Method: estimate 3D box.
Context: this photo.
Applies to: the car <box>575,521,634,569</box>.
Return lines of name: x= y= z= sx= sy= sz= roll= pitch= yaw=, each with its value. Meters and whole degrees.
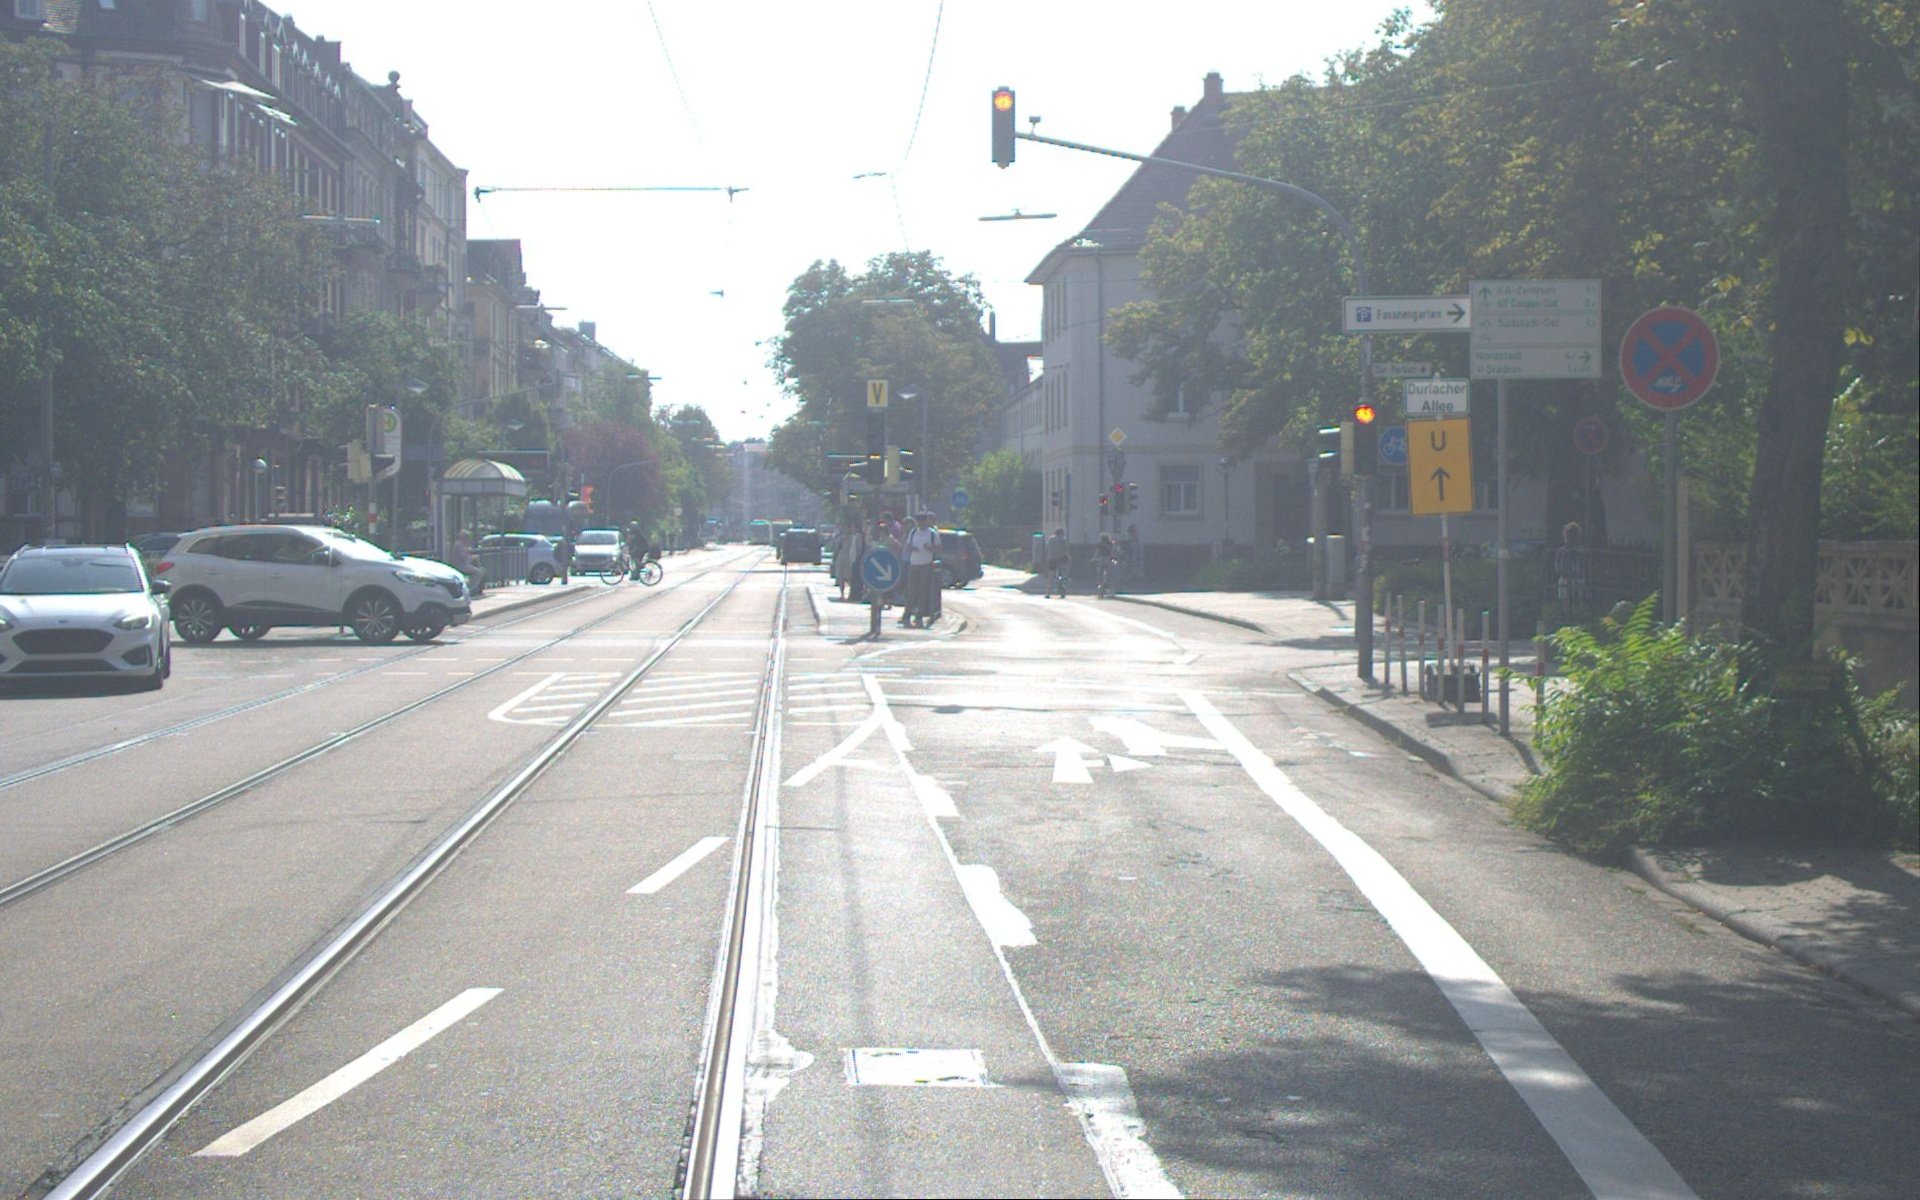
car: x=-12.463 y=-1.939 z=120.671 sx=1.801 sy=1.648 sz=3.643 roll=0 pitch=1 yaw=-1

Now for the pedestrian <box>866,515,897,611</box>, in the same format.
pedestrian: x=-1.478 y=-0.696 z=64.398 sx=0.504 sy=1.753 sz=0.534 roll=3 pitch=3 yaw=-2

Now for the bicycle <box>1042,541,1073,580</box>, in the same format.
bicycle: x=2.459 y=-0.998 z=86.901 sx=0.629 sy=0.974 sz=1.770 roll=0 pitch=1 yaw=-4

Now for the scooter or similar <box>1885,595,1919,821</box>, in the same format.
scooter or similar: x=5.391 y=0.575 z=18.459 sx=0.558 sy=1.193 sz=1.034 roll=-3 pitch=1 yaw=3

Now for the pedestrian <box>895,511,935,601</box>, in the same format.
pedestrian: x=-0.908 y=-0.878 z=68.608 sx=0.709 sy=1.753 sz=0.534 roll=3 pitch=3 yaw=-2

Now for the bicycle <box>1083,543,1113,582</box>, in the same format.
bicycle: x=3.468 y=-0.952 z=86.467 sx=0.558 sy=0.974 sz=1.856 roll=0 pitch=1 yaw=-4

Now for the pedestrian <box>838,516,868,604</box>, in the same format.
pedestrian: x=-2.200 y=-0.819 z=70.618 sx=0.532 sy=1.753 sz=0.545 roll=3 pitch=3 yaw=-1

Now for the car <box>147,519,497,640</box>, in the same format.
car: x=-8.812 y=-0.312 z=47.608 sx=4.320 sy=1.625 sz=1.999 roll=0 pitch=1 yaw=14

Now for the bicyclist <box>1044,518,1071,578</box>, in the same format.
bicyclist: x=2.465 y=-1.308 z=86.893 sx=0.629 sy=1.502 sz=0.679 roll=0 pitch=1 yaw=-4

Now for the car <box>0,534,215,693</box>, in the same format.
car: x=-8.889 y=0.093 z=35.229 sx=1.872 sy=1.449 sz=4.546 roll=-3 pitch=2 yaw=-6

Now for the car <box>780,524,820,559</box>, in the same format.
car: x=-7.539 y=-2.768 z=162.482 sx=1.801 sy=1.648 sz=3.643 roll=0 pitch=1 yaw=-1

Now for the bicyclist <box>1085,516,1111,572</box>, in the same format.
bicyclist: x=3.461 y=-1.409 z=86.471 sx=0.558 sy=1.412 sz=0.872 roll=0 pitch=1 yaw=-4

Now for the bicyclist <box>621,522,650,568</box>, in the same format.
bicyclist: x=-9.347 y=-1.595 z=99.039 sx=0.819 sy=1.323 sz=0.548 roll=0 pitch=1 yaw=-4

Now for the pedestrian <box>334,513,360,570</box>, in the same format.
pedestrian: x=-19.407 y=-1.853 z=108.914 sx=0.533 sy=1.753 sz=0.544 roll=4 pitch=4 yaw=24

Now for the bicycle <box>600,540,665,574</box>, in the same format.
bicycle: x=-9.437 y=-1.242 z=99.047 sx=1.850 sy=0.954 sz=0.548 roll=0 pitch=1 yaw=-4

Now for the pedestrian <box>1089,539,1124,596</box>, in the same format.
pedestrian: x=4.494 y=-1.008 z=105.238 sx=0.892 sy=1.734 sz=0.775 roll=0 pitch=1 yaw=19

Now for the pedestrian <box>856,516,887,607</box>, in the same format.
pedestrian: x=-1.767 y=-0.764 z=68.401 sx=0.543 sy=1.753 sz=0.534 roll=3 pitch=3 yaw=-2

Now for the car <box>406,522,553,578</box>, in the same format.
car: x=-13.570 y=-1.417 z=97.034 sx=3.963 sy=1.546 sz=2.001 roll=0 pitch=1 yaw=-13

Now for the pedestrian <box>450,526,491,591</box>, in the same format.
pedestrian: x=-10.230 y=-0.873 z=71.837 sx=0.827 sy=1.354 sz=0.776 roll=0 pitch=1 yaw=-6

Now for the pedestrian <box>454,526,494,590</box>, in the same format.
pedestrian: x=-10.291 y=-0.891 z=72.813 sx=0.827 sy=1.354 sz=0.776 roll=0 pitch=1 yaw=-6

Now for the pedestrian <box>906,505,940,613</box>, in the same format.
pedestrian: x=-0.647 y=-0.720 z=59.713 sx=0.504 sy=1.827 sz=0.534 roll=3 pitch=3 yaw=-2

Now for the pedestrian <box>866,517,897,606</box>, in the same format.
pedestrian: x=-1.586 y=-0.781 z=69.214 sx=0.543 sy=1.753 sz=0.534 roll=3 pitch=3 yaw=-2

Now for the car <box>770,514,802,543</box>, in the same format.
car: x=-10.109 y=-4.149 z=199.823 sx=1.801 sy=1.648 sz=3.643 roll=0 pitch=1 yaw=-1

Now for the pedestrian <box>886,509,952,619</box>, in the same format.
pedestrian: x=-0.654 y=-0.593 z=55.446 sx=0.701 sy=1.719 sz=0.747 roll=5 pitch=4 yaw=31

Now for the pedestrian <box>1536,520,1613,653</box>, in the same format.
pedestrian: x=8.042 y=-0.177 z=45.019 sx=0.749 sy=1.725 sz=0.772 roll=0 pitch=1 yaw=-11
